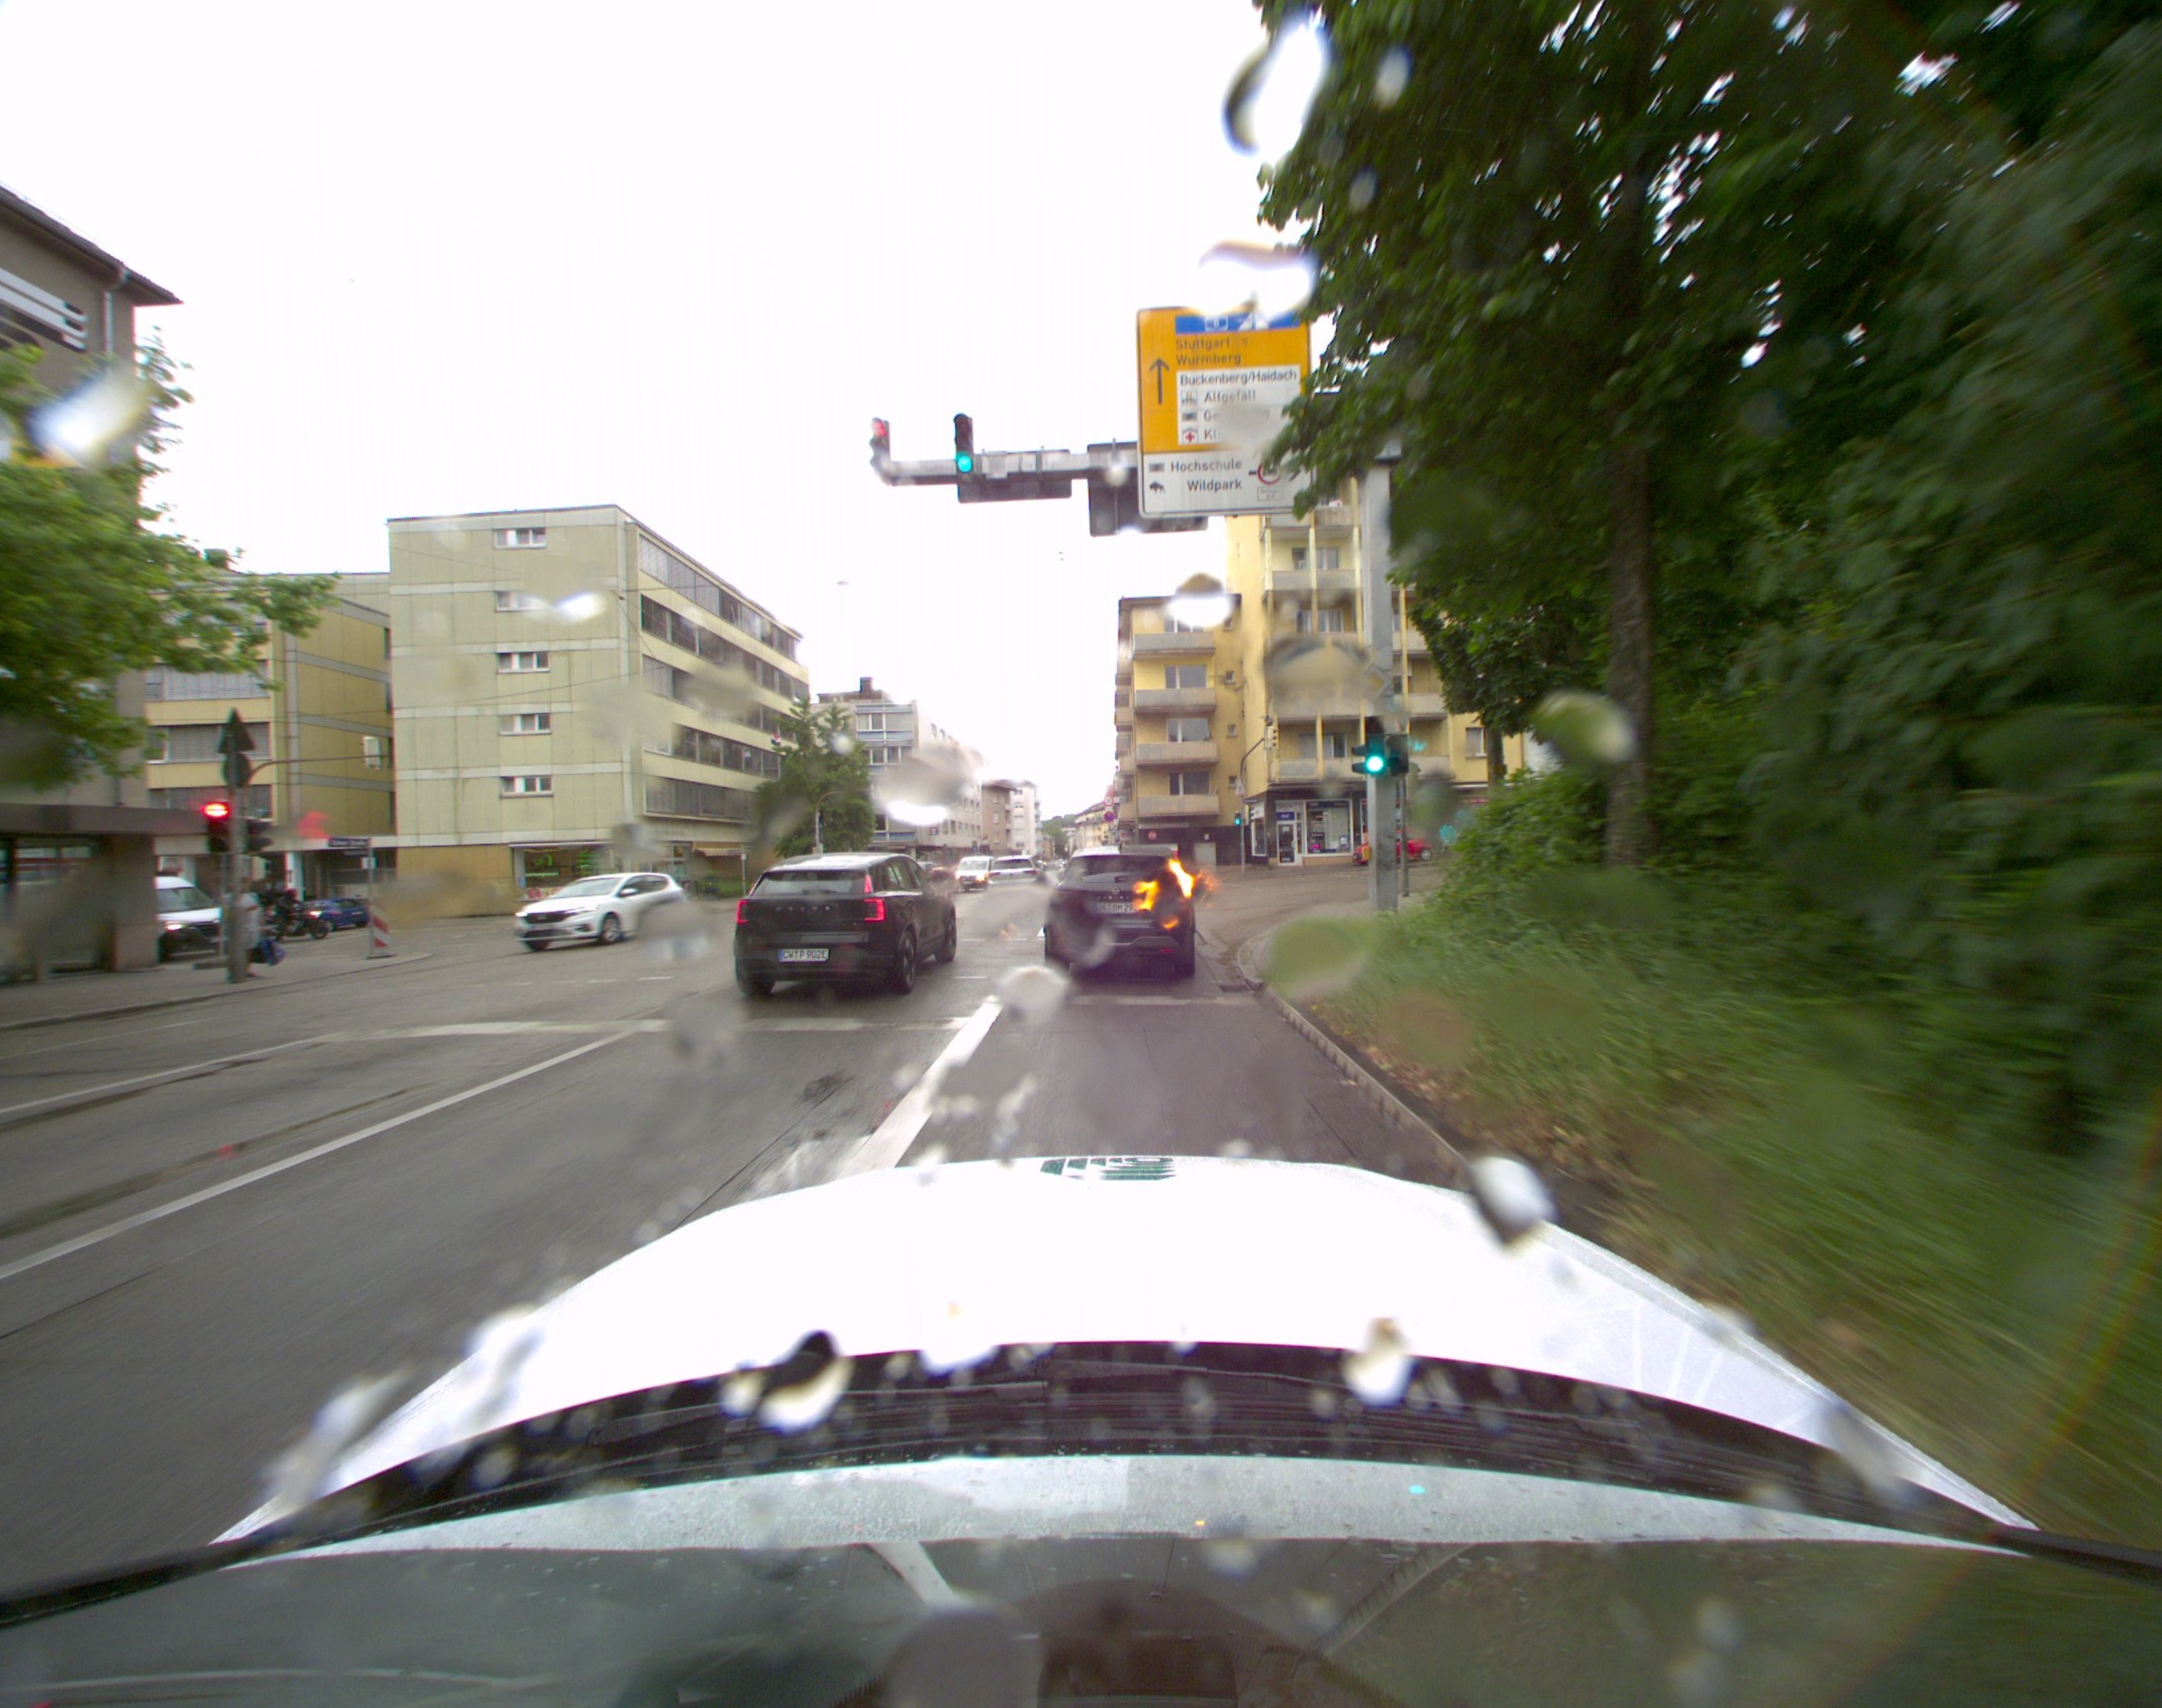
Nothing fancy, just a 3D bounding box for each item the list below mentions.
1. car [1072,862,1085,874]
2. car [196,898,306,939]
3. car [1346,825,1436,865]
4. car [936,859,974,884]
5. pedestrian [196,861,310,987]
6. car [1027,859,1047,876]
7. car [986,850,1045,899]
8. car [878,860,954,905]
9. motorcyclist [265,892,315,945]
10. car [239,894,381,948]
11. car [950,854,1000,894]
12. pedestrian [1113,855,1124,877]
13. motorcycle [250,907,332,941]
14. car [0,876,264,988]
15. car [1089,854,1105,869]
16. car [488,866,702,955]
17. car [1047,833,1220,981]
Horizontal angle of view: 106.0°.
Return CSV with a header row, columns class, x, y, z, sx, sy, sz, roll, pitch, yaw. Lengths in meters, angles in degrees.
class,x,y,z,sx,sy,sz,roll,pitch,yaw
car,-0.427,2.566,150.534,1.985,2.013,4.003,-4,0,3
car,-42.342,3.245,41.680,1.748,1.577,3.695,-4,1,-2
car,14.058,-0.421,37.004,3.460,1.557,1.472,-4,1,0
car,-8.168,1.120,52.997,1.800,1.409,4.388,-4,0,-2
pedestrian,-14.121,1.161,13.919,0.939,2.013,0.884,-3,0,-8
car,-5.465,1.651,101.106,1.903,2.013,4.002,-4,0,2
car,-2.118,0.626,27.147,1.763,1.444,3.996,-3,0,-3
car,-6.200,1.027,30.989,1.779,1.491,3.818,-4,0,4
motorcyclist,-26.365,2.124,27.151,0.920,1.663,0.704,-3,-2,-15
car,-34.656,3.002,36.688,4.416,1.919,2.035,-5,0,3
car,-5.346,0.969,41.567,1.773,1.816,4.408,-3,0,2
pedestrian,2.796,0.889,60.397,0.699,1.558,0.631,-2,0,11
motorcycle,-26.328,2.326,27.156,1.855,0.935,0.615,-3,0,-15
car,-28.346,2.250,24.181,5.740,2.712,2.185,-5,0,0
car,2.278,1.029,114.155,1.988,2.013,3.999,-4,0,-1
car,-10.619,1.152,18.223,1.985,1.494,4.092,-5,0,4
car,0.807,0.593,11.177,1.949,1.653,4.007,0,0,6
